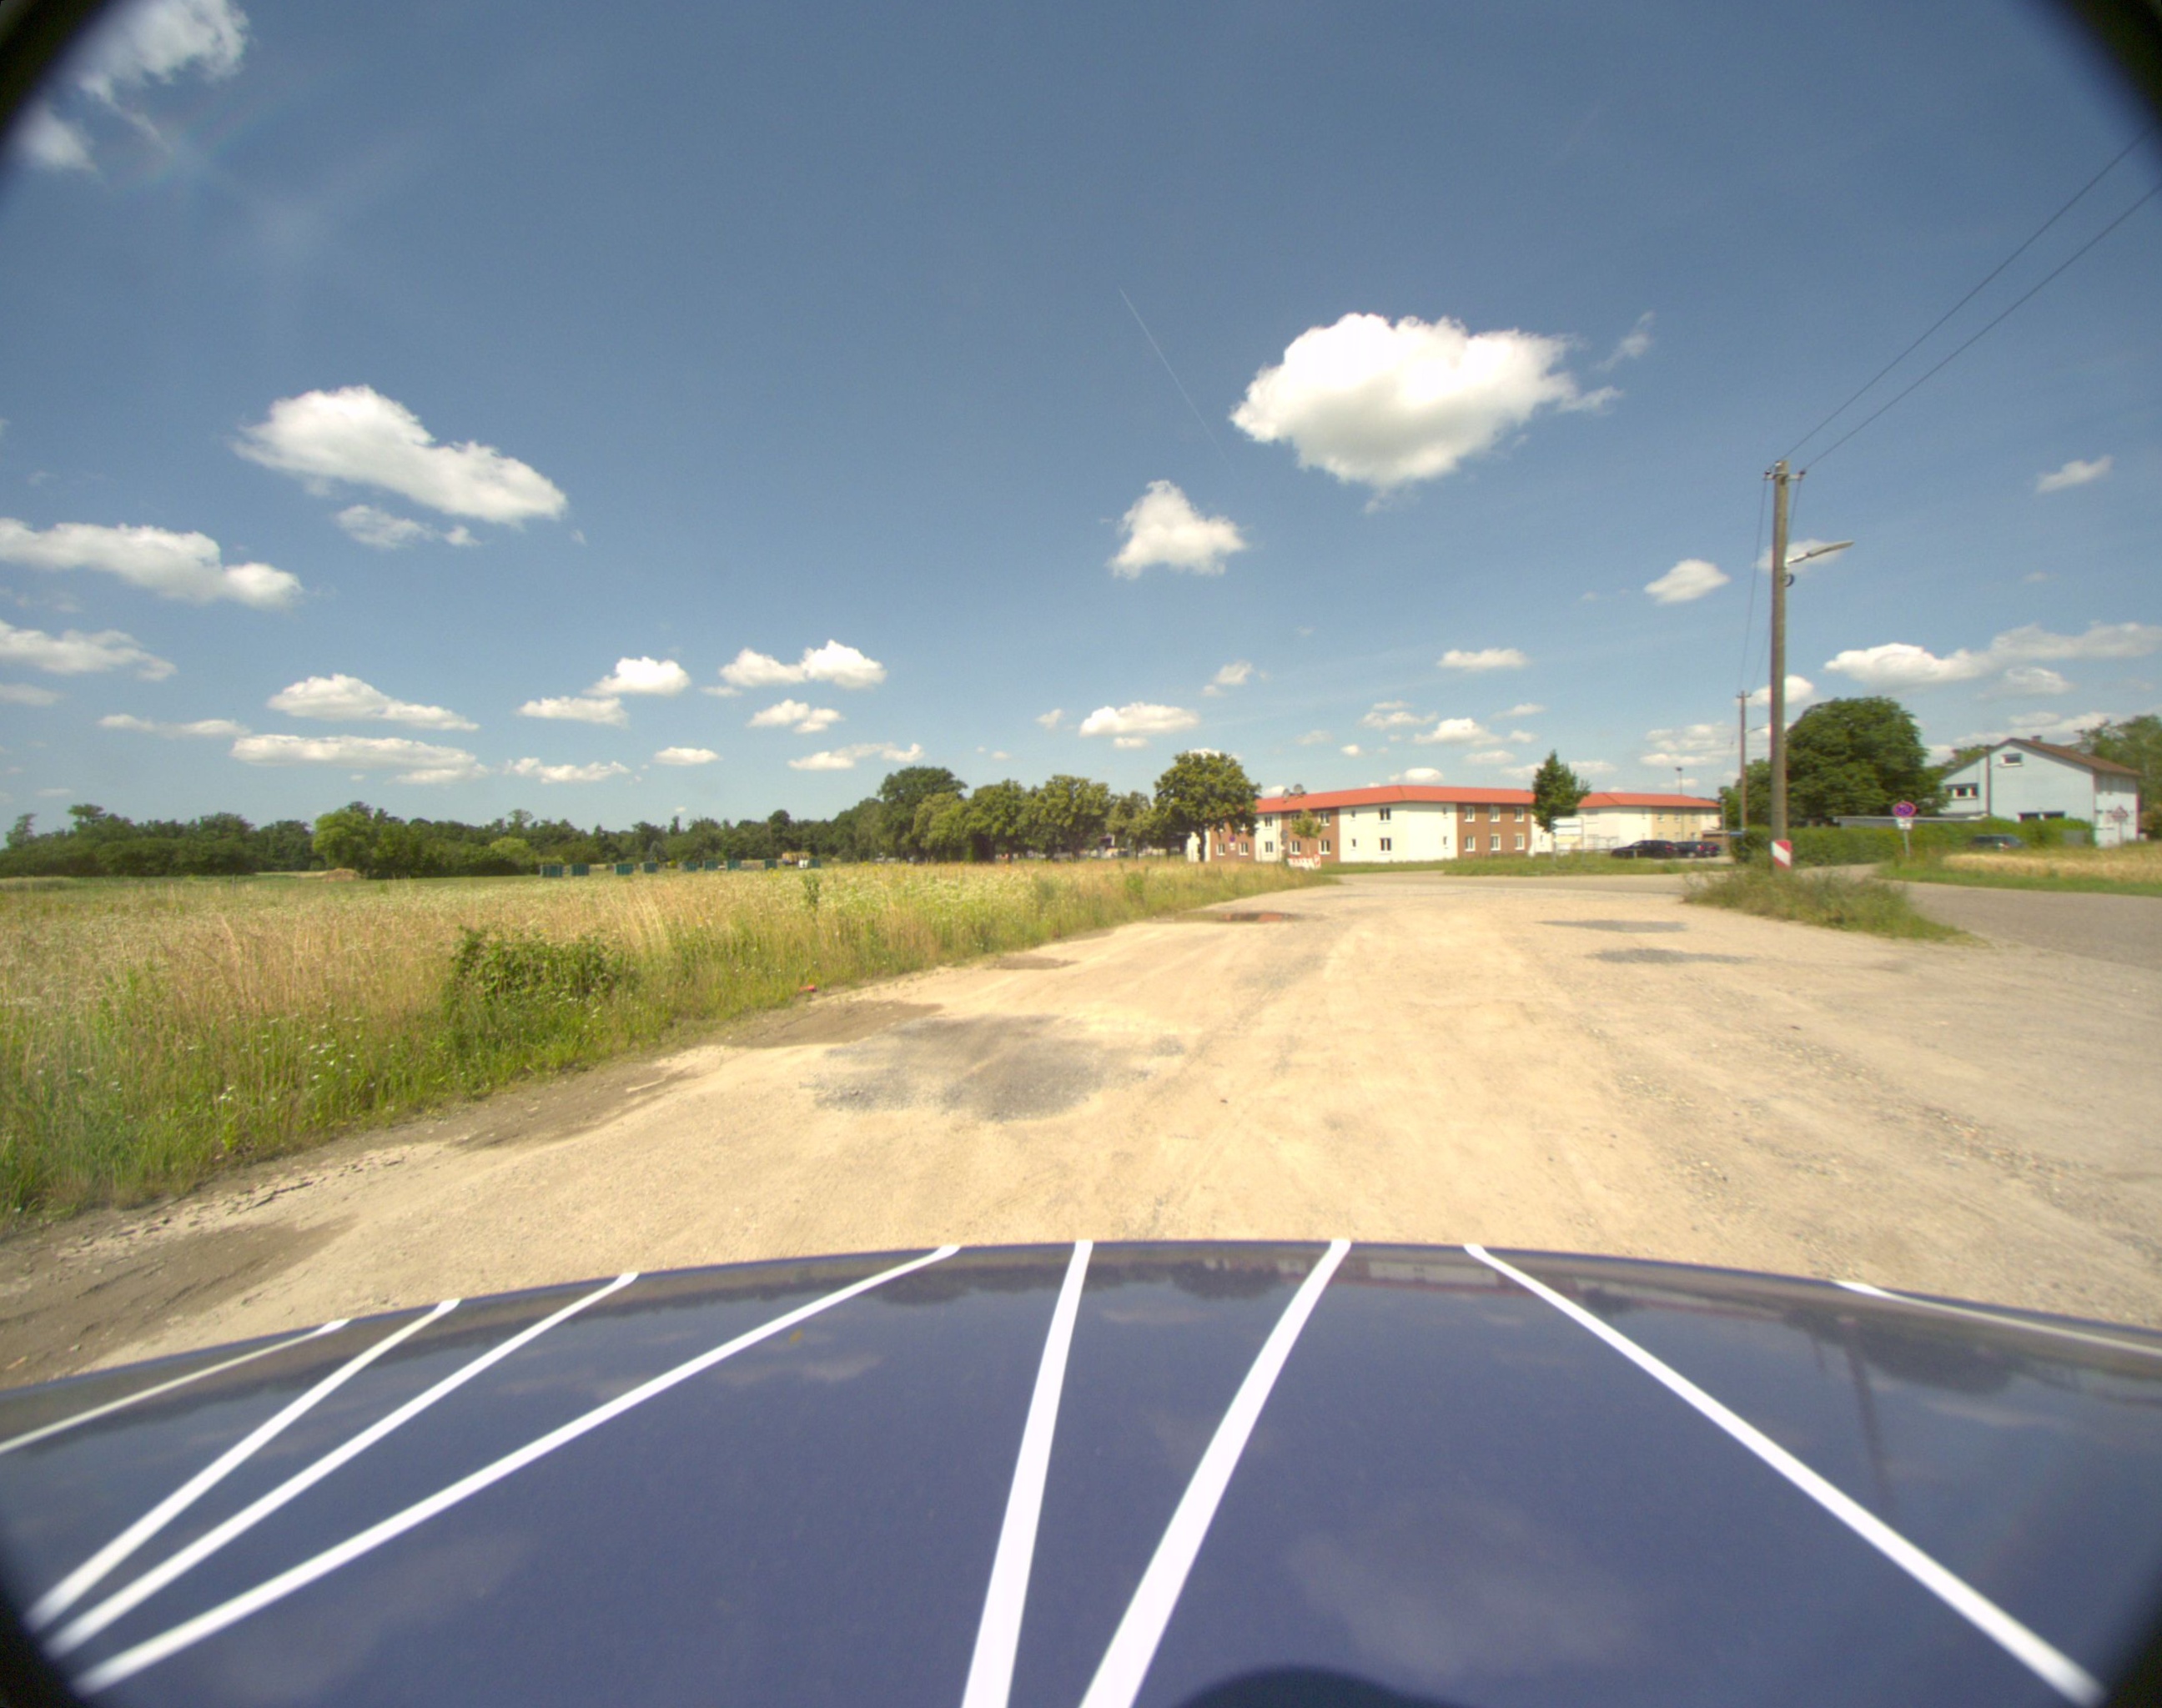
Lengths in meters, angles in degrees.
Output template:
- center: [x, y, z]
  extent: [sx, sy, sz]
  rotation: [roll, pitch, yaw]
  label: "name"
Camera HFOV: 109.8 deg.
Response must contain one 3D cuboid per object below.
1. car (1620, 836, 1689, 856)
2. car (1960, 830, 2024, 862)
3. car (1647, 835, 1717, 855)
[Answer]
- center: [47.182, -0.638, 62.582]
  extent: [2.003, 1.605, 4.139]
  rotation: [-1, 1, -30]
  label: "car"
- center: [54.296, -0.480, 45.266]
  extent: [4.261, 1.669, 1.745]
  rotation: [-3, 1, -30]
  label: "car"
- center: [50.765, -0.735, 64.245]
  extent: [2.003, 1.605, 4.139]
  rotation: [-1, 1, -30]
  label: "car"
